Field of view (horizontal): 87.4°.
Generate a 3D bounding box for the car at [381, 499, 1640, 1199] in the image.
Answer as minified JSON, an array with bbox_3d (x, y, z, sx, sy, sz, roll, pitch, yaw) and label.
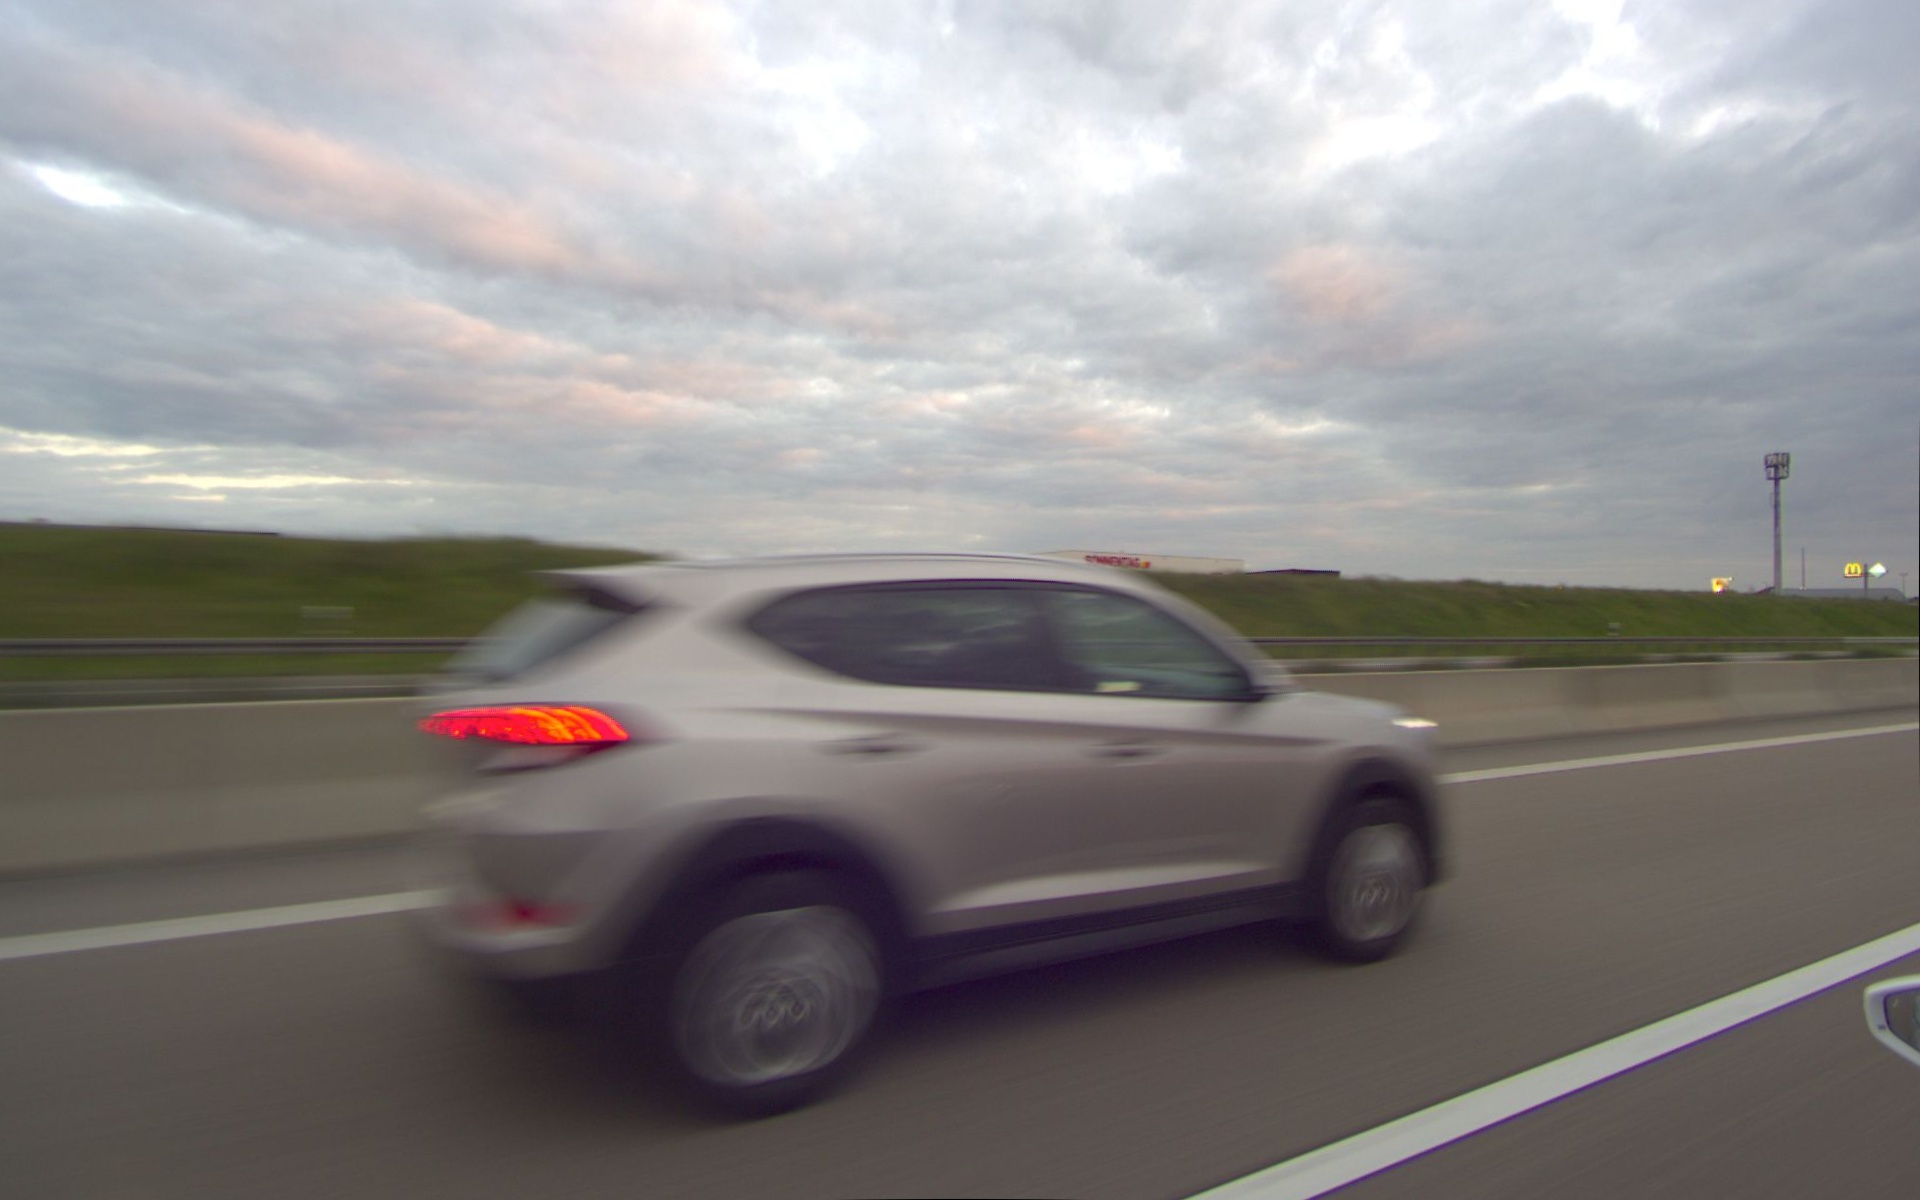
[{"bbox_3d":[0.597,0.680,4.471,5.447,1.715,1.844,1,-1,-30],"label":"car"}]
